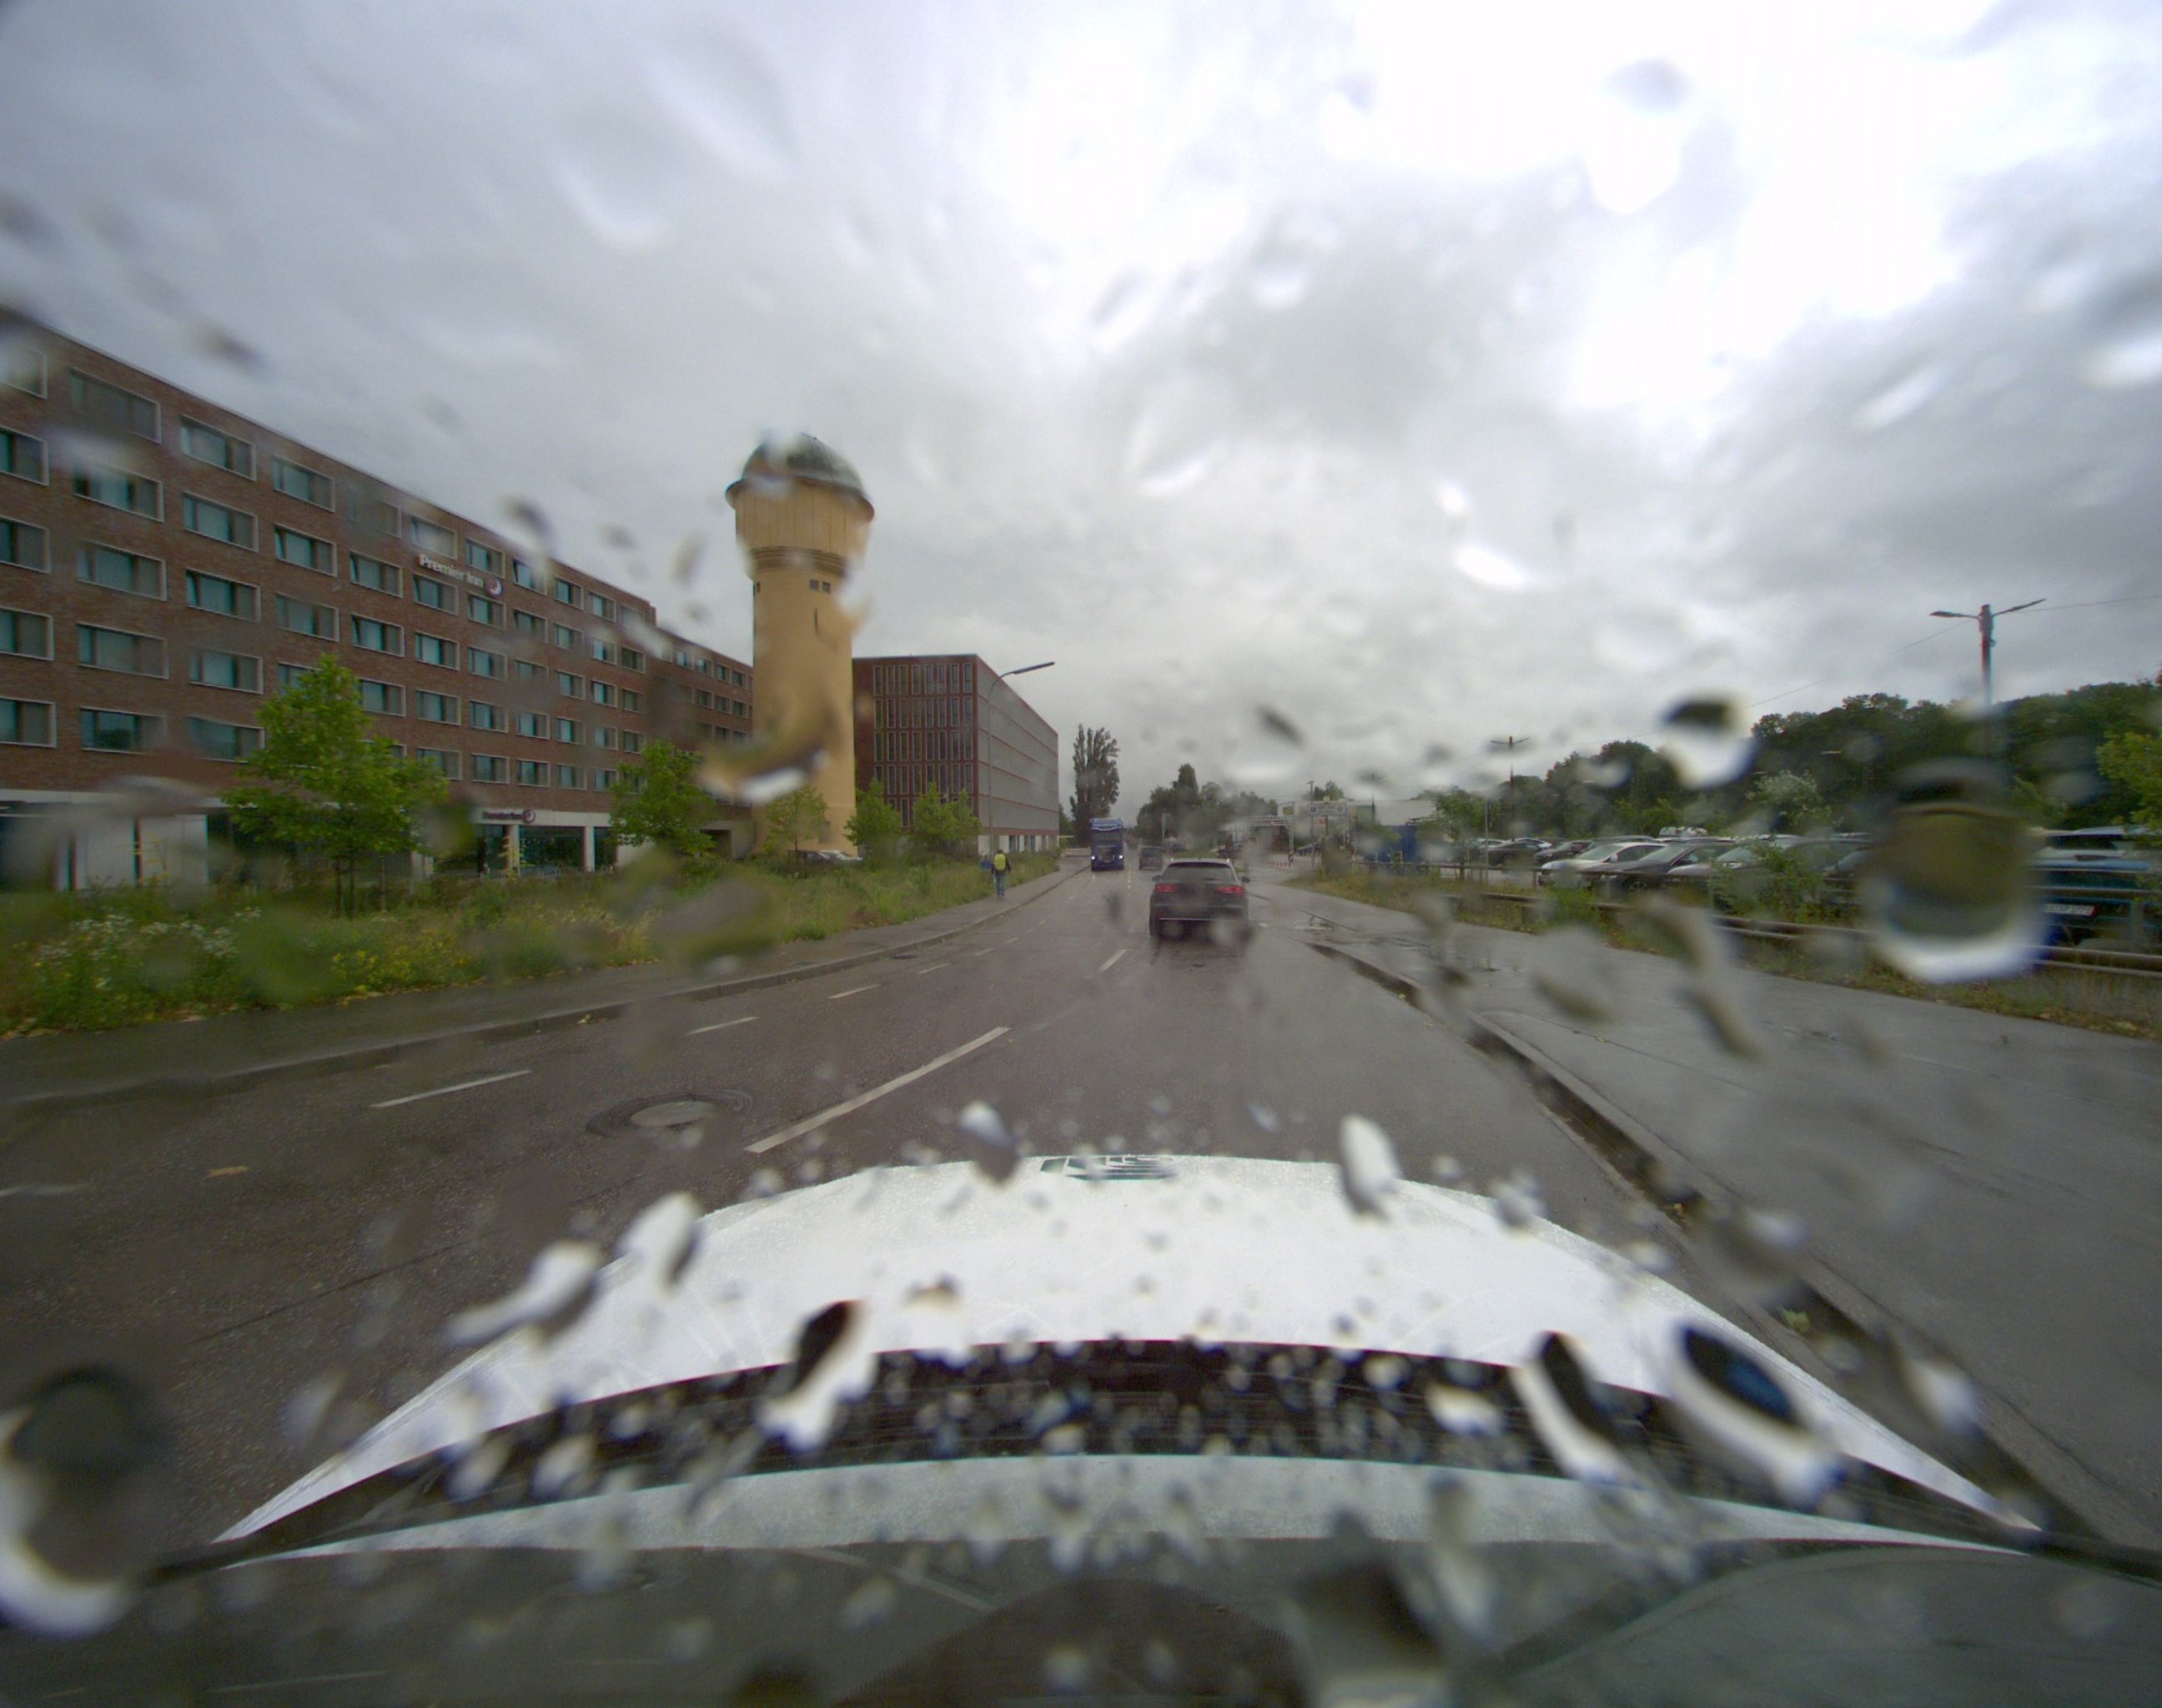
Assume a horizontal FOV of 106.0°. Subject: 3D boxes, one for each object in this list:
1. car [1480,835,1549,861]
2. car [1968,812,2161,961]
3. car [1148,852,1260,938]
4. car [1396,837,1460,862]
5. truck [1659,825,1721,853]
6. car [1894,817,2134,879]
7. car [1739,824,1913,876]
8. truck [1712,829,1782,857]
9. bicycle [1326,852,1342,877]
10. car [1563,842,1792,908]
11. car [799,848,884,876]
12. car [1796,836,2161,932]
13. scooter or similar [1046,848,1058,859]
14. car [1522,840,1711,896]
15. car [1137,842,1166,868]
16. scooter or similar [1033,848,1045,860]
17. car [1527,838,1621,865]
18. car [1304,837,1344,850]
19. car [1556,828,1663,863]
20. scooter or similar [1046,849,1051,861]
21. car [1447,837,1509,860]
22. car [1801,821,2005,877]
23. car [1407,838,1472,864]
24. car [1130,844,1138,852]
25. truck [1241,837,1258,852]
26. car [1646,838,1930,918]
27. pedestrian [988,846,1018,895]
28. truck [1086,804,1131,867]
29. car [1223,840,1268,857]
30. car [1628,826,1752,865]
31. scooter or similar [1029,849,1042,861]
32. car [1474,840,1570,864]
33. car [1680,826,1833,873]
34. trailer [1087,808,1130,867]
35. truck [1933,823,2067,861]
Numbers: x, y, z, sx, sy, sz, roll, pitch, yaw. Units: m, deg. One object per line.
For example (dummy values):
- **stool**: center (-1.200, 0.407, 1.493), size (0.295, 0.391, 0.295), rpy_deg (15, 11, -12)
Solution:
- **car**: center (31.715, -0.436, 59.617), size (4.046, 1.659, 1.832), rpy_deg (-3, -1, 1)
- **car**: center (13.535, 0.355, 9.704), size (3.882, 1.594, 1.897), rpy_deg (0, 0, 0)
- **car**: center (2.445, 0.692, 16.015), size (1.883, 1.456, 4.238), rpy_deg (0, 0, 9)
- **car**: center (25.271, -0.343, 59.473), size (3.883, 1.584, 1.789), rpy_deg (-3, -1, 5)
- **truck**: center (55.313, -1.337, 74.093), size (2.064, 2.401, 5.088), rpy_deg (-1, 1, 3)
- **car**: center (24.380, -0.142, 21.421), size (3.933, 1.427, 1.889), rpy_deg (-2, -1, 5)
- **car**: center (24.314, -0.119, 26.695), size (3.933, 1.490, 1.780), rpy_deg (-2, -1, 5)
- **truck**: center (54.788, -0.922, 67.136), size (2.060, 2.138, 5.096), rpy_deg (-1, 1, 8)
- **bicycle**: center (11.913, 0.484, 38.351), size (0.502, 1.084, 1.712), rpy_deg (-1, 1, 24)
- **car**: center (13.530, 0.466, 18.670), size (3.882, 1.423, 1.906), rpy_deg (0, 0, 0)
- **car**: center (-14.527, 0.469, 49.523), size (4.506, 1.641, 2.000), rpy_deg (-1, 0, 0)
- **car**: center (13.871, 0.440, 12.717), size (3.882, 1.394, 1.779), rpy_deg (0, 0, 0)
- **scooter or similar**: center (-3.184, -0.050, 89.650), size (1.304, 1.230, 0.470), rpy_deg (-1, 1, 32)
- **car**: center (14.008, 0.360, 21.473), size (3.758, 1.393, 1.906), rpy_deg (0, 0, 0)
- **car**: center (5.485, 0.079, 63.530), size (1.986, 1.910, 4.203), rpy_deg (-1, 0, 2)
- **scooter or similar**: center (-4.640, 0.005, 90.202), size (1.215, 1.230, 0.461), rpy_deg (-2, 1, -45)
- **car**: center (25.706, -0.118, 42.567), size (3.866, 1.221, 1.651), rpy_deg (-2, -1, 8)
- **car**: center (27.674, -1.189, 92.837), size (3.969, 1.485, 2.002), rpy_deg (0, 0, 3)
- **car**: center (25.611, -0.408, 39.595), size (3.933, 1.490, 1.872), rpy_deg (-2, -1, 5)
- **scooter or similar**: center (-3.512, 0.089, 87.068), size (0.464, 1.230, 1.321), rpy_deg (-1, 1, 0)
- **car**: center (31.827, -0.433, 65.379), size (4.042, 1.605, 1.929), rpy_deg (-3, -1, 3)
- **car**: center (24.098, -0.127, 24.021), size (3.933, 1.427, 1.889), rpy_deg (-2, -1, 5)
- **car**: center (24.976, -0.191, 56.809), size (3.756, 1.584, 1.789), rpy_deg (-3, -1, 5)
- **car**: center (11.332, -1.333, 174.075), size (1.721, 1.686, 3.903), rpy_deg (-1, 0, 5)
- **truck**: center (30.246, -1.763, 146.223), size (2.289, 2.659, 7.430), rpy_deg (-2, 1, 6)
- **car**: center (13.303, 0.433, 15.501), size (3.882, 1.423, 1.779), rpy_deg (0, 0, 0)
- **pedestrian**: center (-2.778, 0.579, 29.269), size (0.905, 1.718, 1.027), rpy_deg (-1, 0, 3)
- **truck**: center (2.135, -1.426, 64.155), size (3.282, 4.653, 6.035), rpy_deg (-1, 0, 1)
- **car**: center (17.964, -0.594, 89.228), size (4.656, 1.735, 2.132), rpy_deg (-1, -1, 7)
- **car**: center (26.244, -0.349, 35.219), size (3.933, 1.490, 1.780), rpy_deg (-2, -1, 5)
- **scooter or similar**: center (-4.926, 0.105, 87.794), size (1.309, 1.177, 0.468), rpy_deg (-1, 1, 8)
- **car**: center (25.857, -0.102, 47.881), size (4.570, 1.221, 1.979), rpy_deg (-2, -1, 1)
- **car**: center (24.373, -0.146, 29.497), size (3.933, 1.490, 1.780), rpy_deg (-2, -1, 5)
- **trailer**: center (2.376, -1.387, 71.170), size (3.282, 4.653, 13.738), rpy_deg (-1, 1, 2)
- **truck**: center (52.771, -0.712, 46.968), size (2.072, 2.013, 5.286), rpy_deg (-1, 1, 4)
